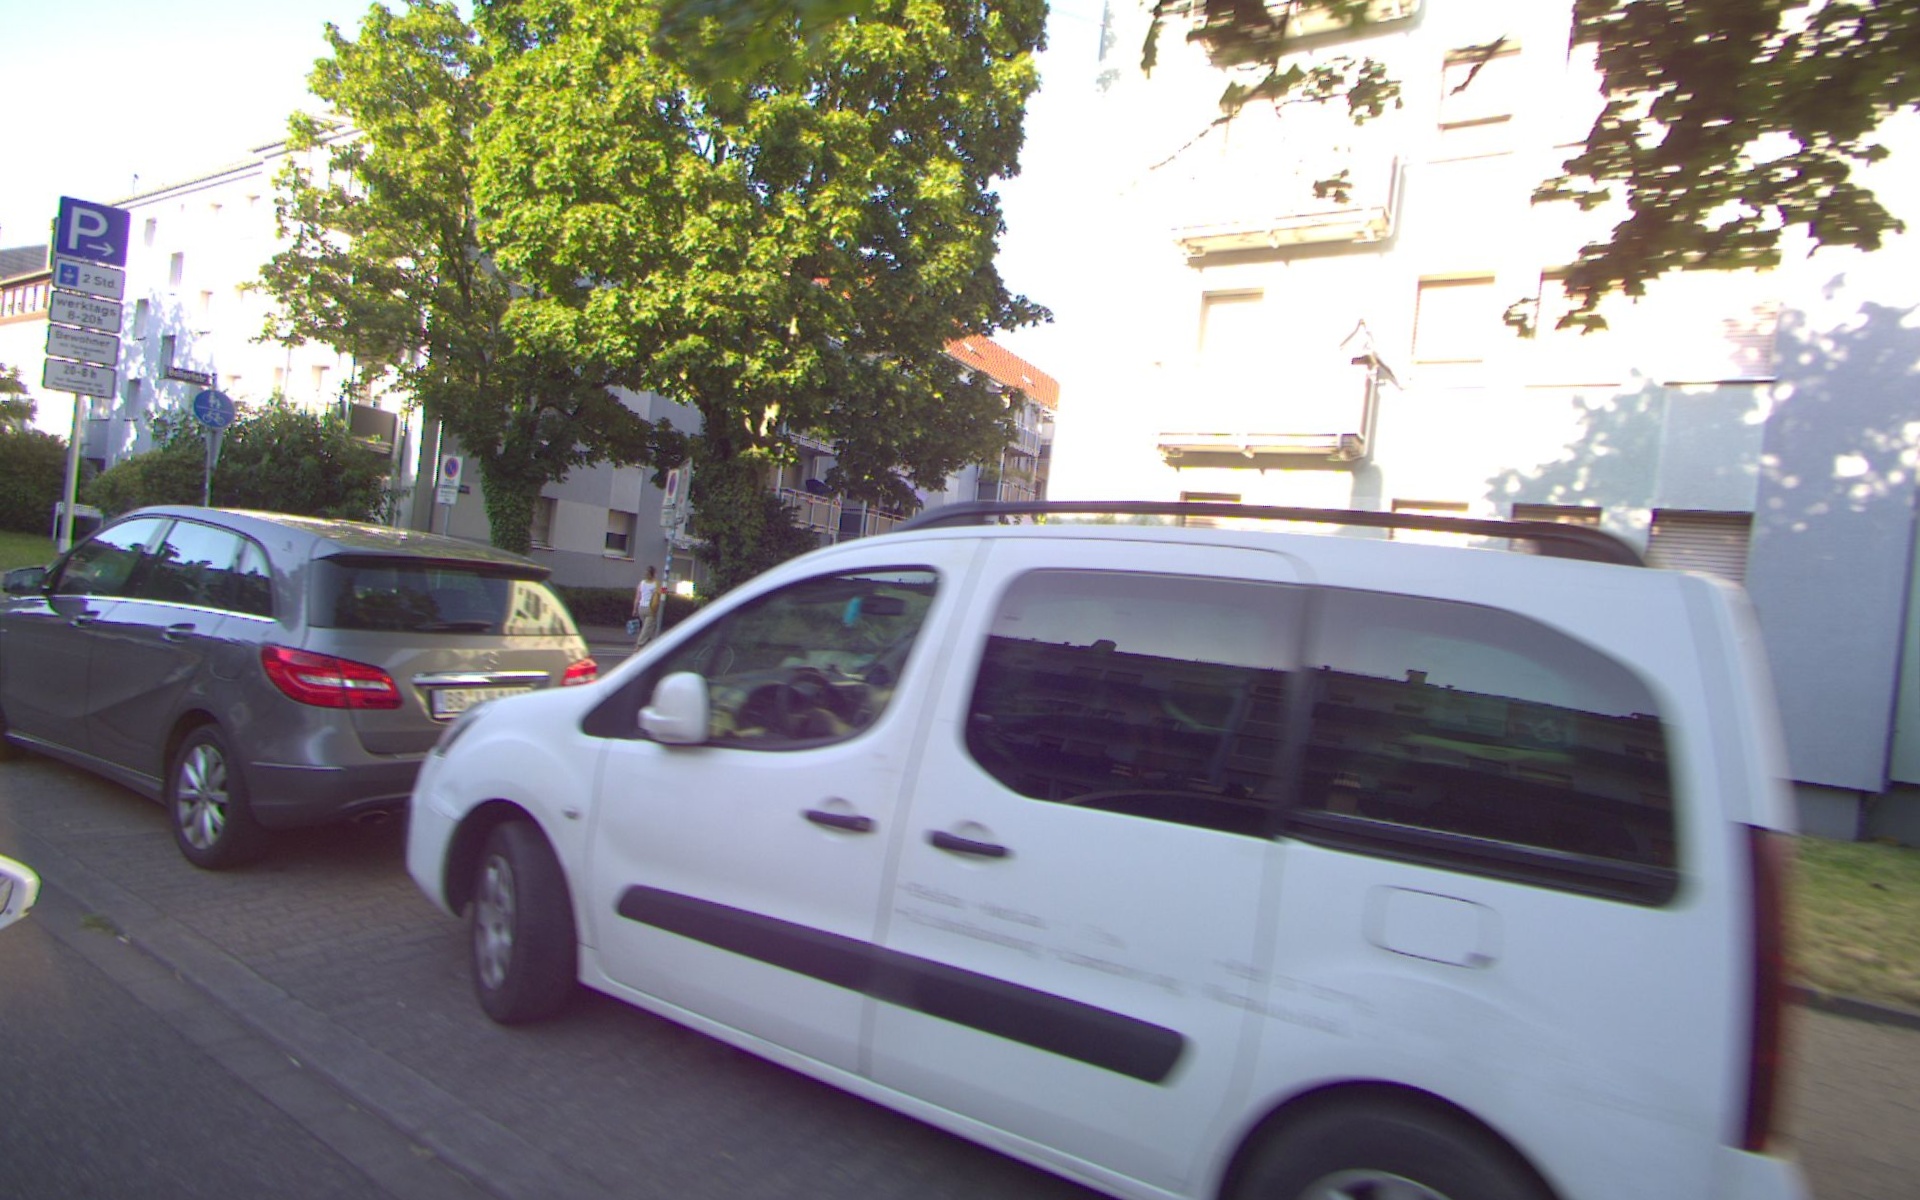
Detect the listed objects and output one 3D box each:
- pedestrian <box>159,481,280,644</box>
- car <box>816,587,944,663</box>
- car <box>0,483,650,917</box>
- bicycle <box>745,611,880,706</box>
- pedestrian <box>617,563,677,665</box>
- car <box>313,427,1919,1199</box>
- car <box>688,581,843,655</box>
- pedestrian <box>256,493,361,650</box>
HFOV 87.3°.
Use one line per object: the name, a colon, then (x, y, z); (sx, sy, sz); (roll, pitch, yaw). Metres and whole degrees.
pedestrian: (-9.223, -0.459, 12.525); (1.050, 1.885, 0.749); (7, 1, 31)
car: (-2.466, 0.852, 32.051); (1.731, 1.901, 4.247); (7, -2, 31)
car: (-3.975, 0.287, 5.723); (4.180, 1.577, 1.756); (7, 1, 30)
bicycle: (-1.836, 0.704, 12.410); (1.652, 0.956, 0.475); (7, 1, 32)
pedestrian: (-5.707, 0.254, 18.358); (0.787, 1.743, 0.742); (6, 1, -9)
car: (0.064, 0.578, 3.369); (4.349, 1.829, 1.804); (7, -2, 30)
car: (-5.205, 0.541, 27.461); (1.701, 1.478, 4.167); (7, -2, 31)
pedestrian: (-8.325, -0.367, 12.846); (0.938, 1.885, 0.797); (7, 1, 43)
